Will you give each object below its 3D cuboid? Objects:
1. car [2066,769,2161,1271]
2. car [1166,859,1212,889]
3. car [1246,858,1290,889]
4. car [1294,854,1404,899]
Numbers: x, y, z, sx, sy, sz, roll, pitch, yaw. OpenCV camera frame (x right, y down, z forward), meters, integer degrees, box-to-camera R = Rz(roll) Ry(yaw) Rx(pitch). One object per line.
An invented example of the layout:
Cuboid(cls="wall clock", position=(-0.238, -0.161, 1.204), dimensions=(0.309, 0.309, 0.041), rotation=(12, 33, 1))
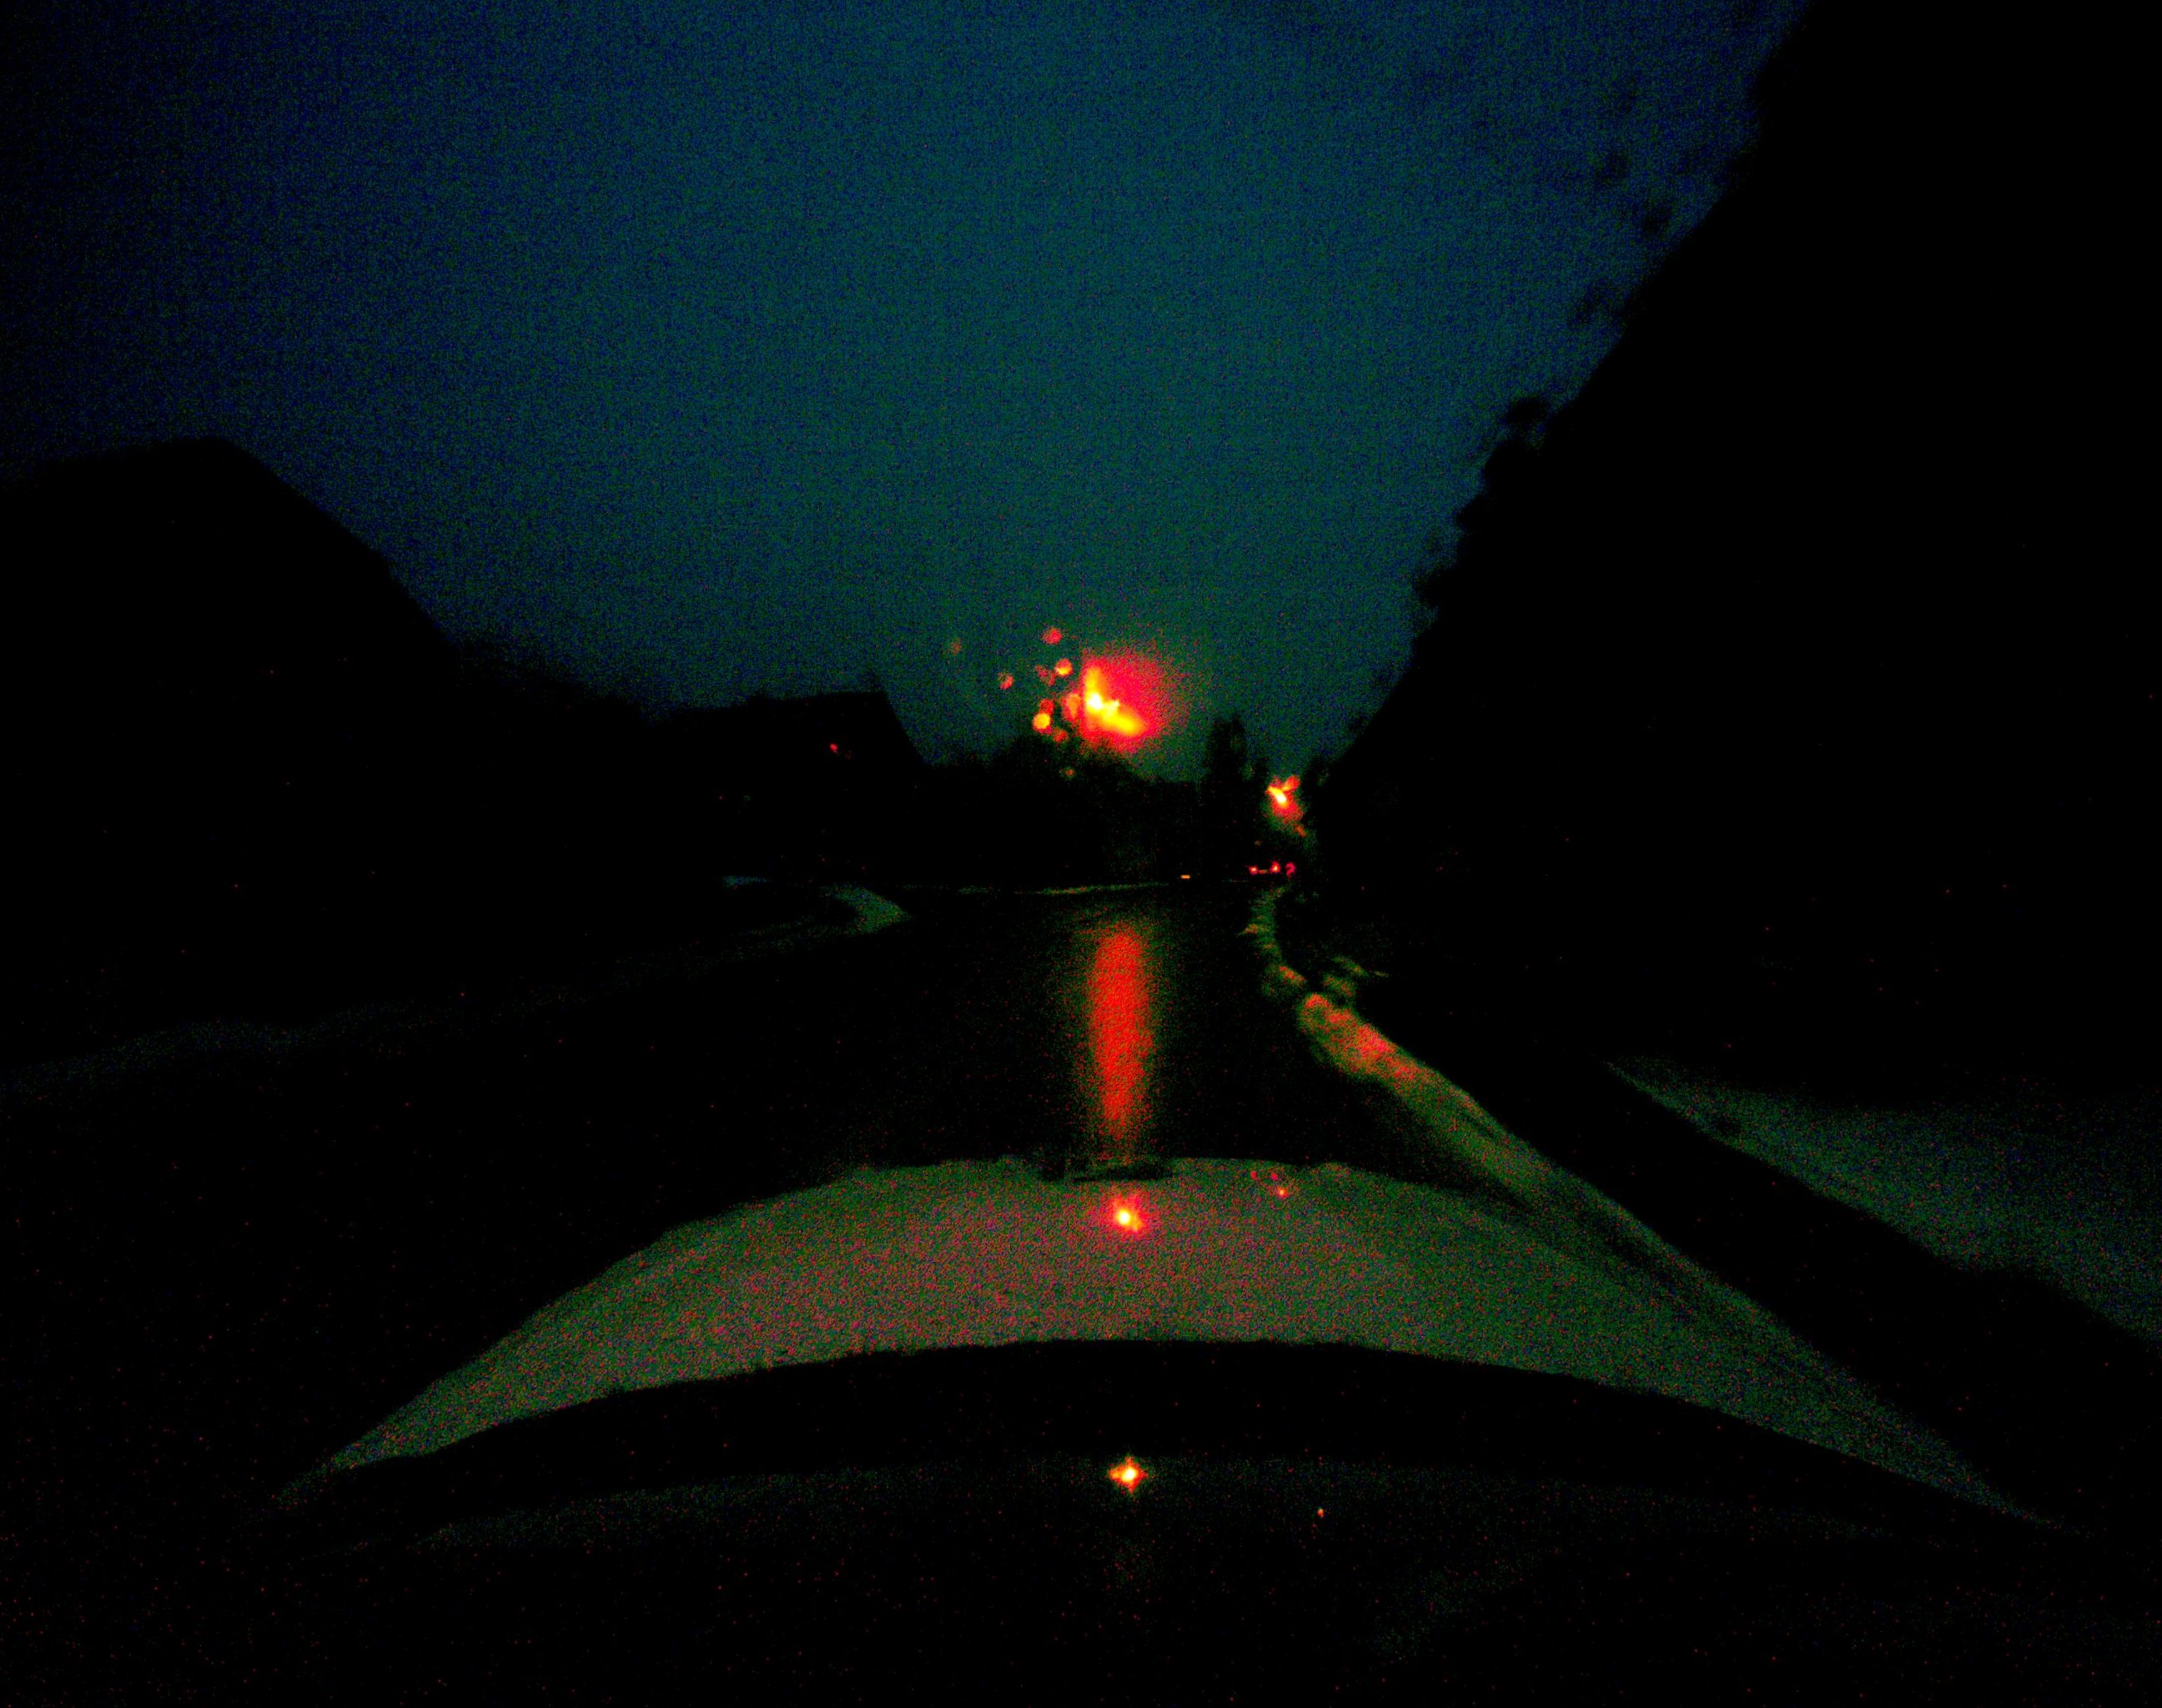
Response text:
Cuboid(cls="car", position=(5.292, 0.309, 1.903), dimensions=(3.985, 1.690, 1.839), rotation=(-7, -3, -8))
Cuboid(cls="car", position=(6.698, 1.270, 50.210), dimensions=(1.977, 1.651, 4.019), rotation=(-3, -3, 20))
Cuboid(cls="car", position=(11.284, 1.203, 49.013), dimensions=(1.976, 1.737, 3.898), rotation=(-3, -4, 21))
Cuboid(cls="car", position=(9.249, 0.811, 28.372), dimensions=(3.416, 1.387, 1.644), rotation=(-3, -4, 11))
